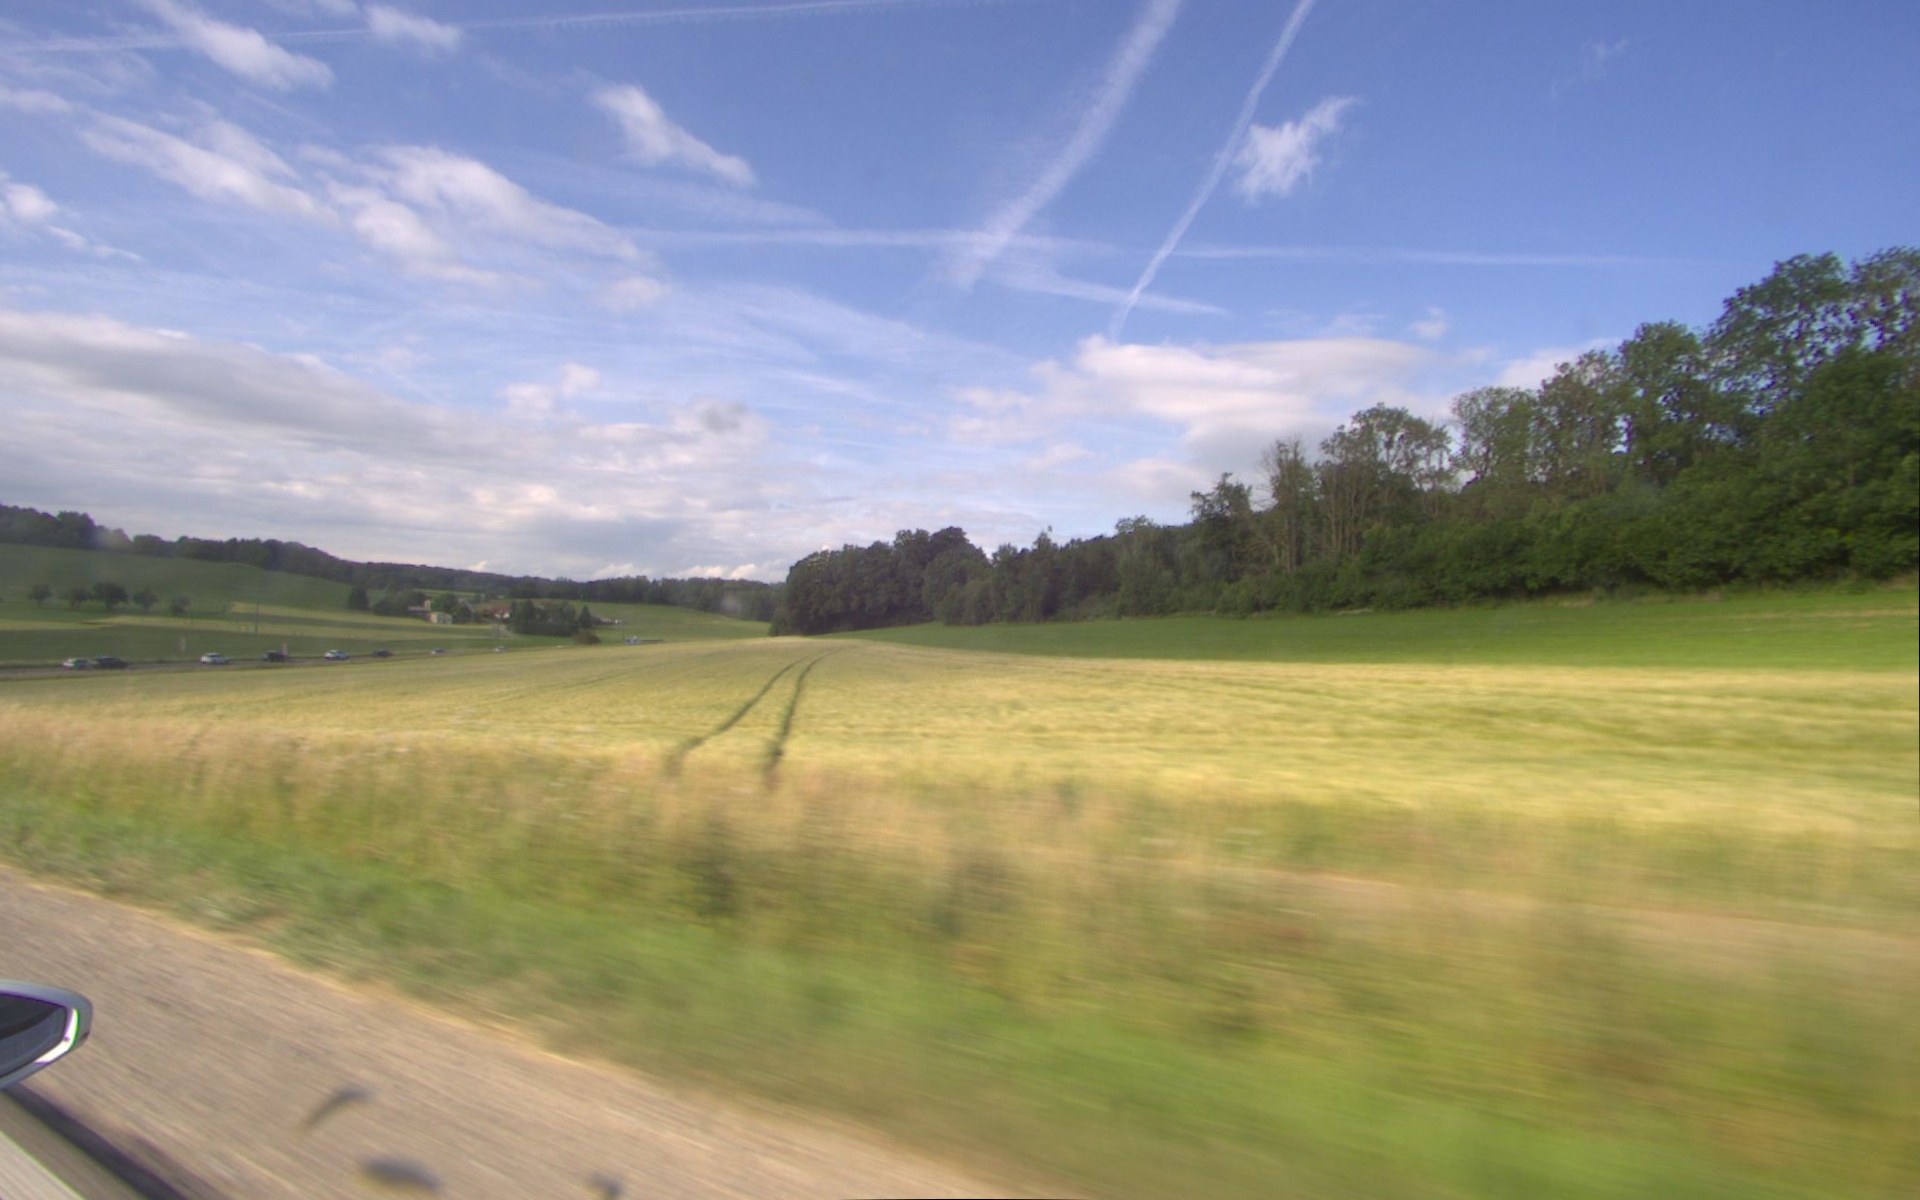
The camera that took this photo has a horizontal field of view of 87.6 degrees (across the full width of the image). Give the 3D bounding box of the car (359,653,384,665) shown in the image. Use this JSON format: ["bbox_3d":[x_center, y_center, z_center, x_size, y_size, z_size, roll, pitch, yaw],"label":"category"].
[{"bbox_3d":[-102.300,10.256,174.018,1.961,2.039,4.001,-1,-1,1],"label":"car"}]
